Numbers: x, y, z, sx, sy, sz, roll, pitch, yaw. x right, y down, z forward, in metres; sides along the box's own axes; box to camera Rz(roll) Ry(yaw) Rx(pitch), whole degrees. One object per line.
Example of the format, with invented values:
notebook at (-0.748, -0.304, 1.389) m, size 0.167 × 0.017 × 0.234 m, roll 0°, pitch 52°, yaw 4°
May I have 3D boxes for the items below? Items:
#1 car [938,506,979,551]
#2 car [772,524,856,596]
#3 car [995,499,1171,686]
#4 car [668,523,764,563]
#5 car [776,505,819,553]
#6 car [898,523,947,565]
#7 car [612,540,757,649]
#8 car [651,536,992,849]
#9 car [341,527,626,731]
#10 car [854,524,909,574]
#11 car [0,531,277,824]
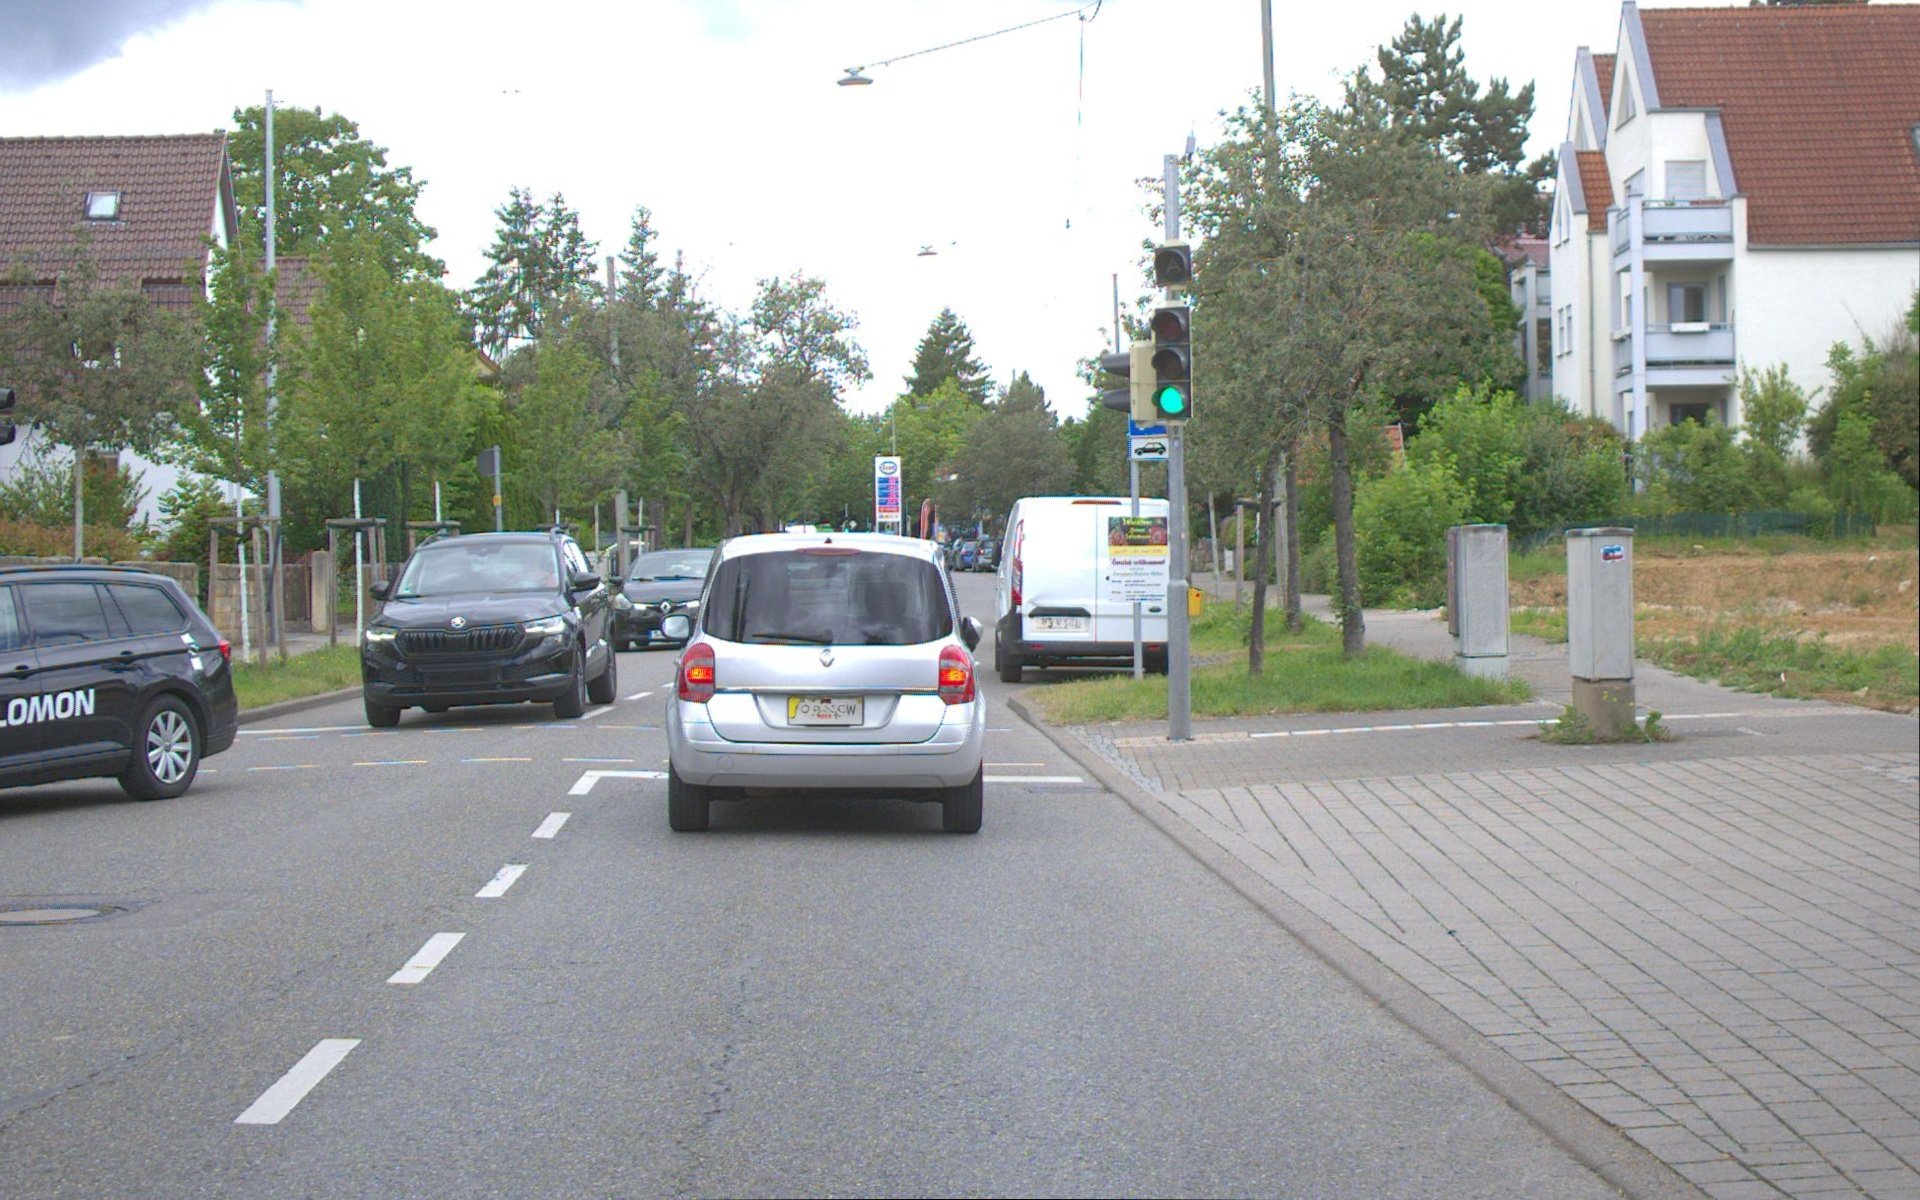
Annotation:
car at (-0.094, -4.734, 228.450) m, size 2.281 × 2.901 × 5.280 m, roll 0°, pitch 1°, yaw -5°
car at (-3.631, -1.022, 86.045) m, size 1.814 × 1.687 × 4.466 m, roll -2°, pitch 1°, yaw 0°
car at (1.298, -0.128, 38.069) m, size 1.775 × 1.937 × 4.789 m, roll 0°, pitch 1°, yaw 0°
car at (-10.816, -2.530, 152.487) m, size 4.086 × 1.700 × 1.747 m, roll -1°, pitch 1°, yaw 1°
car at (-9.330, -4.069, 197.497) m, size 2.073 × 2.573 × 5.300 m, roll -3°, pitch 1°, yaw 0°
car at (-1.632, -2.417, 148.608) m, size 1.835 × 1.708 × 4.001 m, roll -2°, pitch 1°, yaw -3°
car at (-3.980, -0.112, 50.147) m, size 1.616 × 1.467 × 4.000 m, roll -1°, pitch 1°, yaw 2°
car at (-0.684, 0.436, 19.077) m, size 1.679 × 1.554 × 3.512 m, roll 1°, pitch 1°, yaw 1°
car at (-4.079, 0.194, 30.043) m, size 1.895 × 1.619 × 4.000 m, roll -1°, pitch 1°, yaw 0°
car at (-2.891, -1.895, 127.485) m, size 1.795 × 1.746 × 4.299 m, roll -2°, pitch 1°, yaw 1°
car at (-6.155, 0.451, 20.016) m, size 1.996 × 1.615 × 4.643 m, roll -1°, pitch 1°, yaw 23°
